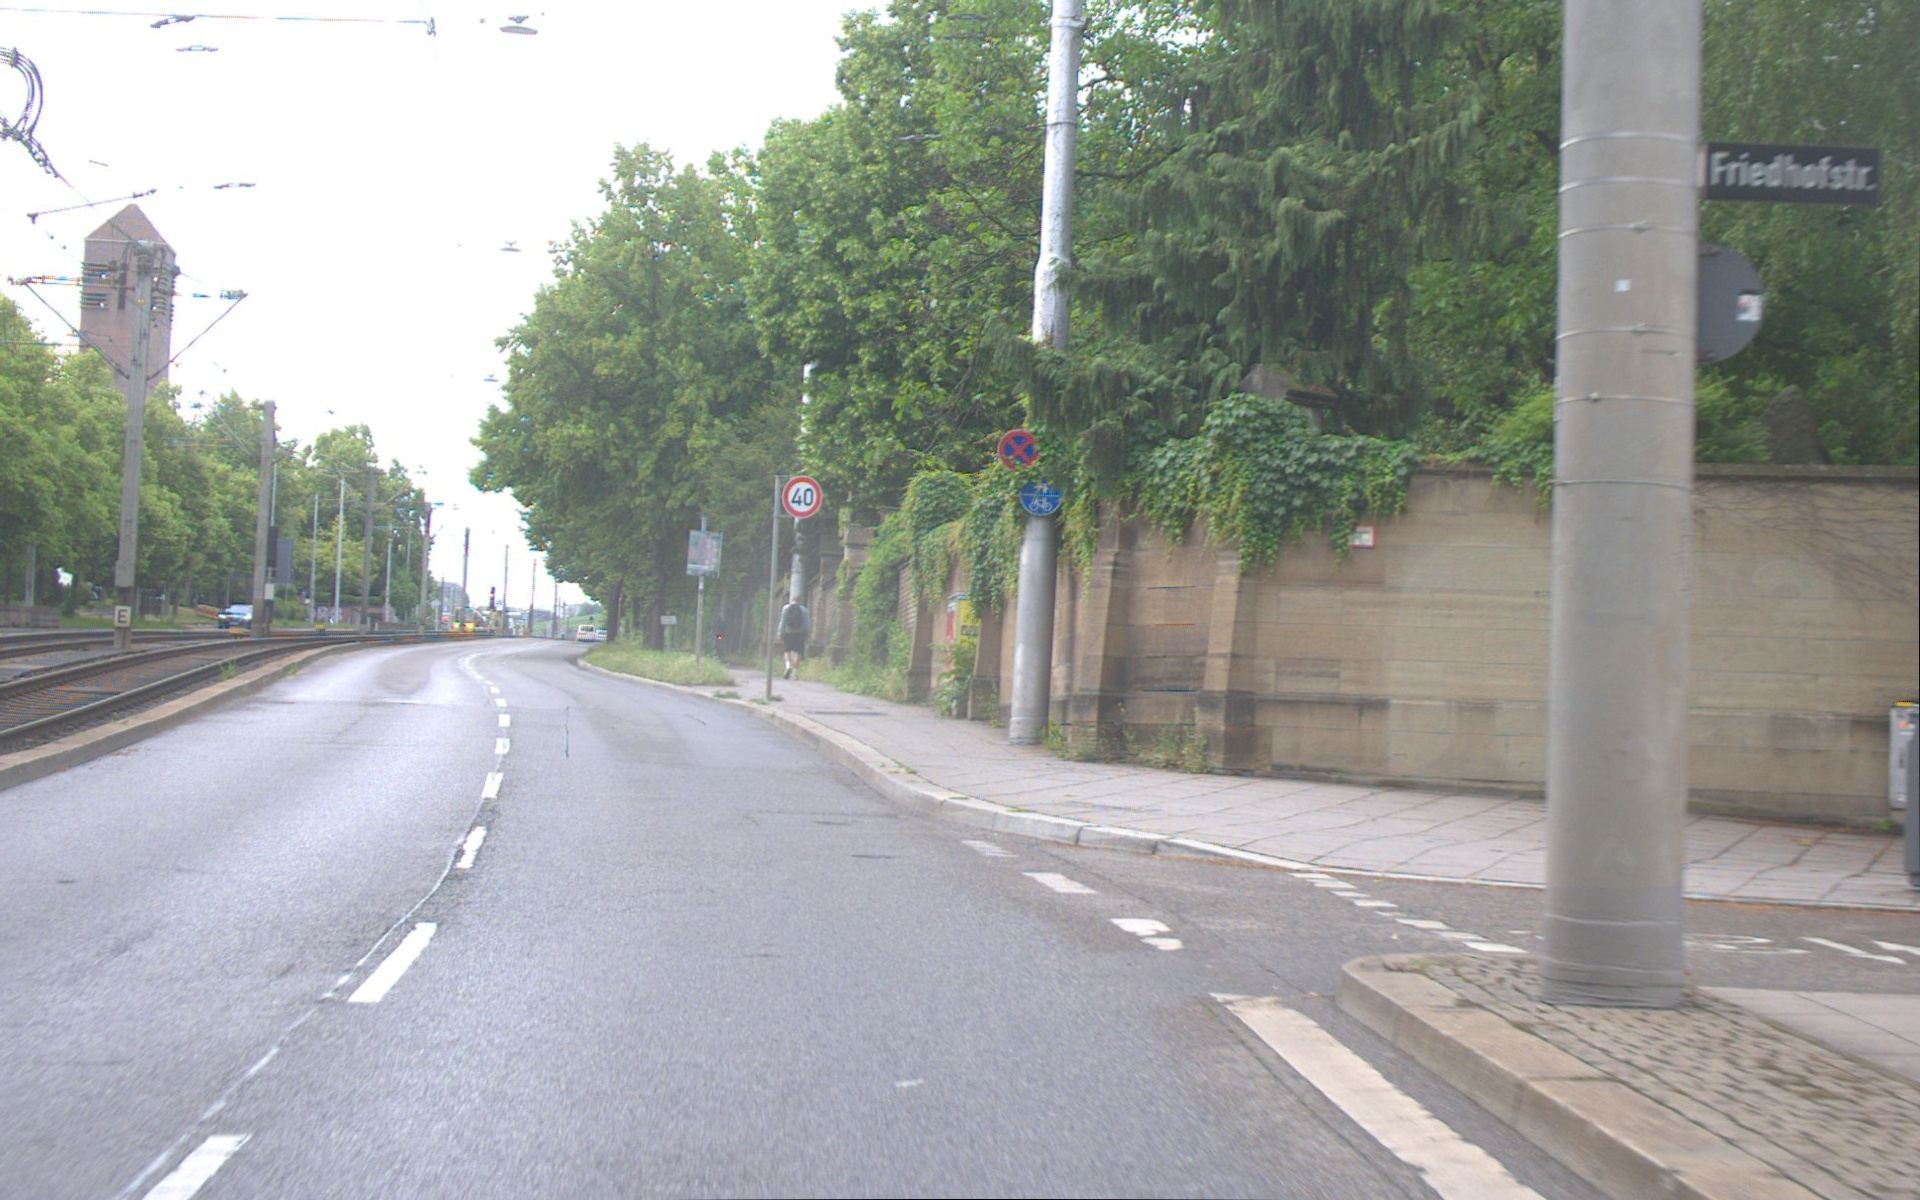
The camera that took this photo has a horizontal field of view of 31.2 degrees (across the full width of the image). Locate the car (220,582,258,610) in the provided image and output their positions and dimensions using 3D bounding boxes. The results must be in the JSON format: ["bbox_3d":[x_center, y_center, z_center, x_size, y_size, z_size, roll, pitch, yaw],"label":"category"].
[{"bbox_3d":[-42.544,-0.245,202.813,1.794,1.505,3.850,2,0,-6],"label":"car"}]

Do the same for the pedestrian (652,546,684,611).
[{"bbox_3d":[-7.786,-0.574,91.595,0.719,1.681,0.729,4,-1,-6],"label":"pedestrian"}]

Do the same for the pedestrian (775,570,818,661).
[{"bbox_3d":[-3.403,0.322,71.446,0.719,1.844,0.783,4,-1,-6],"label":"pedestrian"}]
